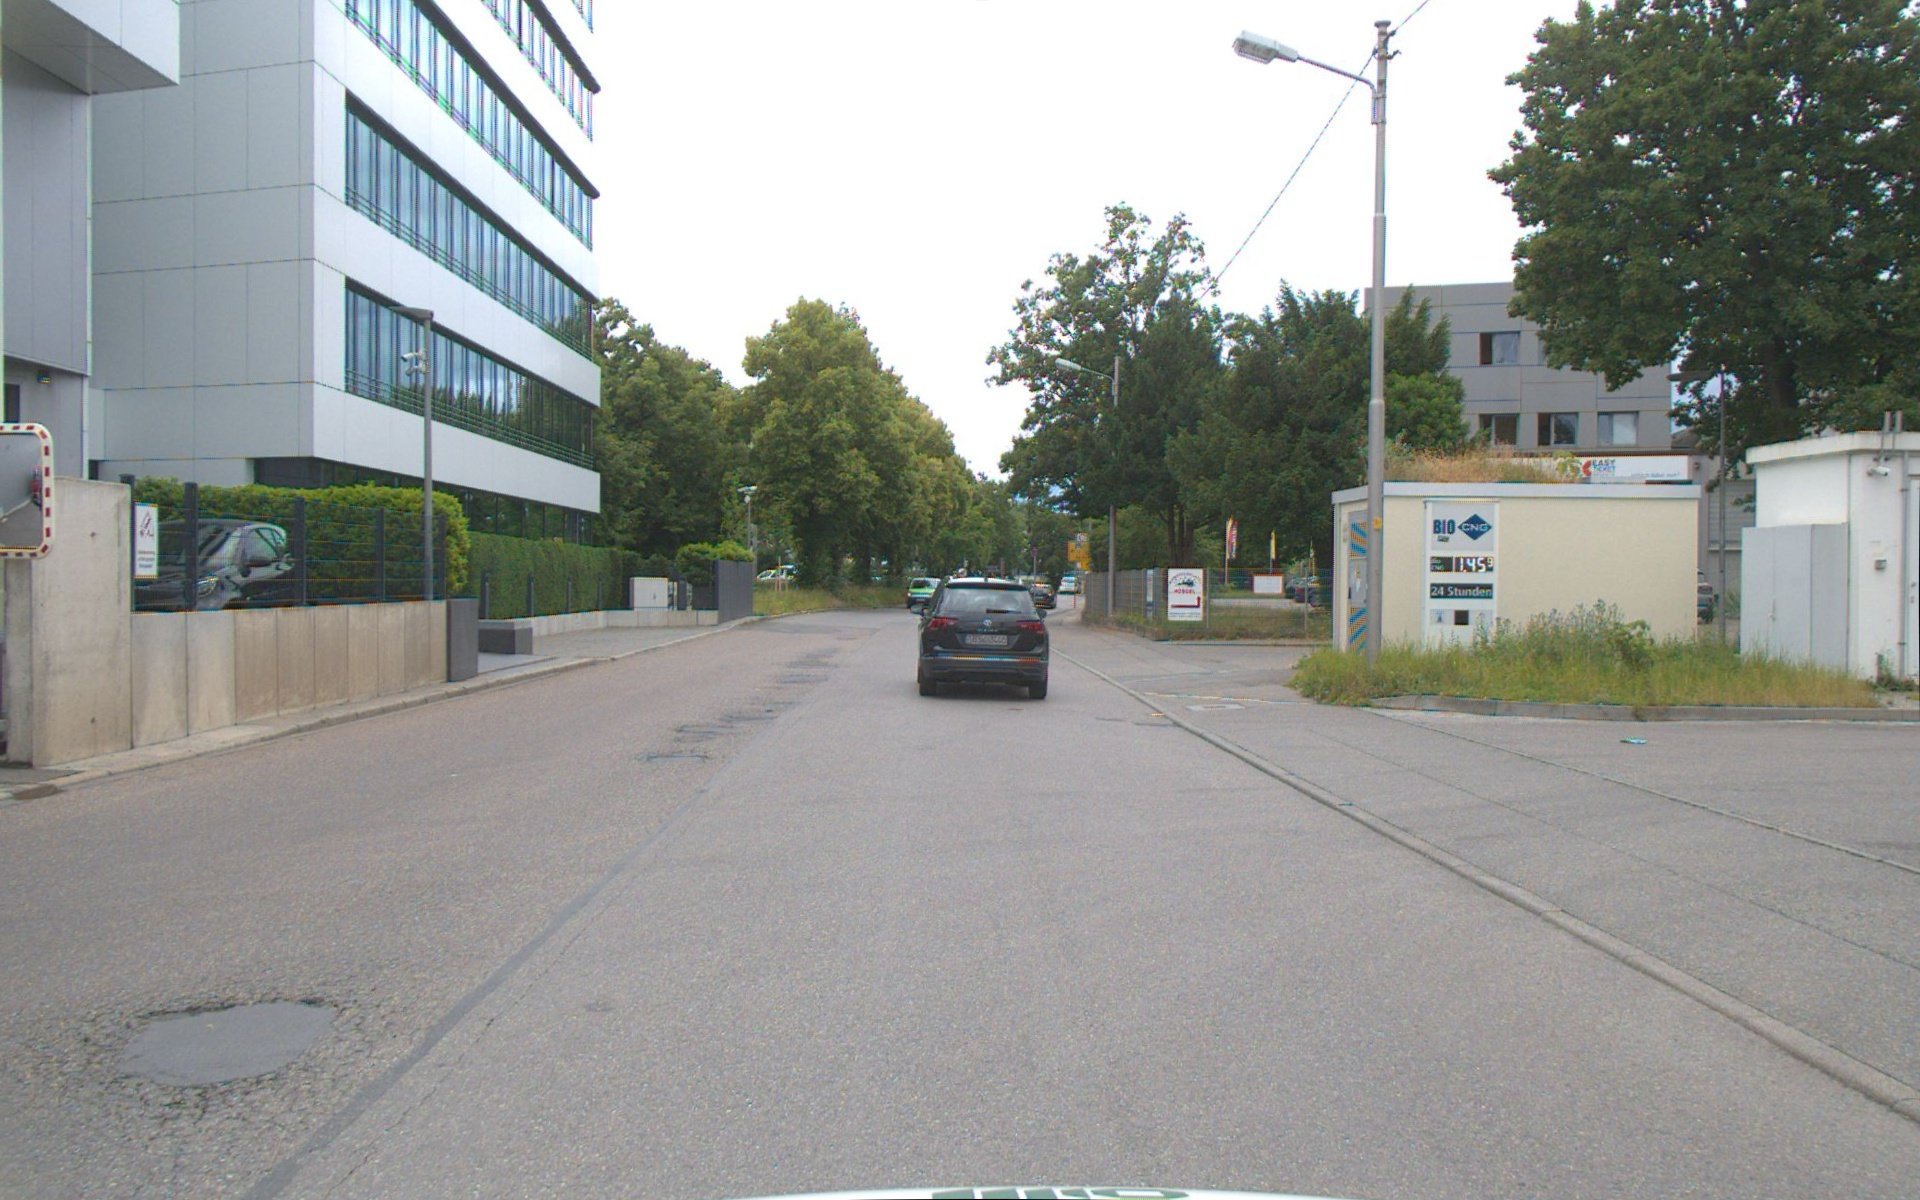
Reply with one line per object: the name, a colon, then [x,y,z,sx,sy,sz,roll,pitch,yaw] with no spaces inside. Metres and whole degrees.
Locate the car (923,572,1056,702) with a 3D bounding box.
car: [0.425,0.485,23.770,1.703,1.646,3.642,2,0,1]

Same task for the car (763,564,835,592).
car: [-14.035,-1.928,144.230,5.944,2.429,2.395,0,1,1]

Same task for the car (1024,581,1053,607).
car: [4.924,-0.395,103.831,1.625,1.602,3.829,0,0,0]

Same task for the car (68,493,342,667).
car: [-8.552,-0.227,19.019,1.616,1.792,3.179,2,1,0]

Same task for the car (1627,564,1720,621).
car: [21.870,-0.251,50.858,1.951,1.640,4.446,0,1,14]

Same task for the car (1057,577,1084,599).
car: [9.713,-1.057,145.255,1.951,1.817,4.003,1,0,9]

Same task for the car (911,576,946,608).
car: [-1.844,-0.468,97.255,1.770,1.795,4.207,2,0,2]
